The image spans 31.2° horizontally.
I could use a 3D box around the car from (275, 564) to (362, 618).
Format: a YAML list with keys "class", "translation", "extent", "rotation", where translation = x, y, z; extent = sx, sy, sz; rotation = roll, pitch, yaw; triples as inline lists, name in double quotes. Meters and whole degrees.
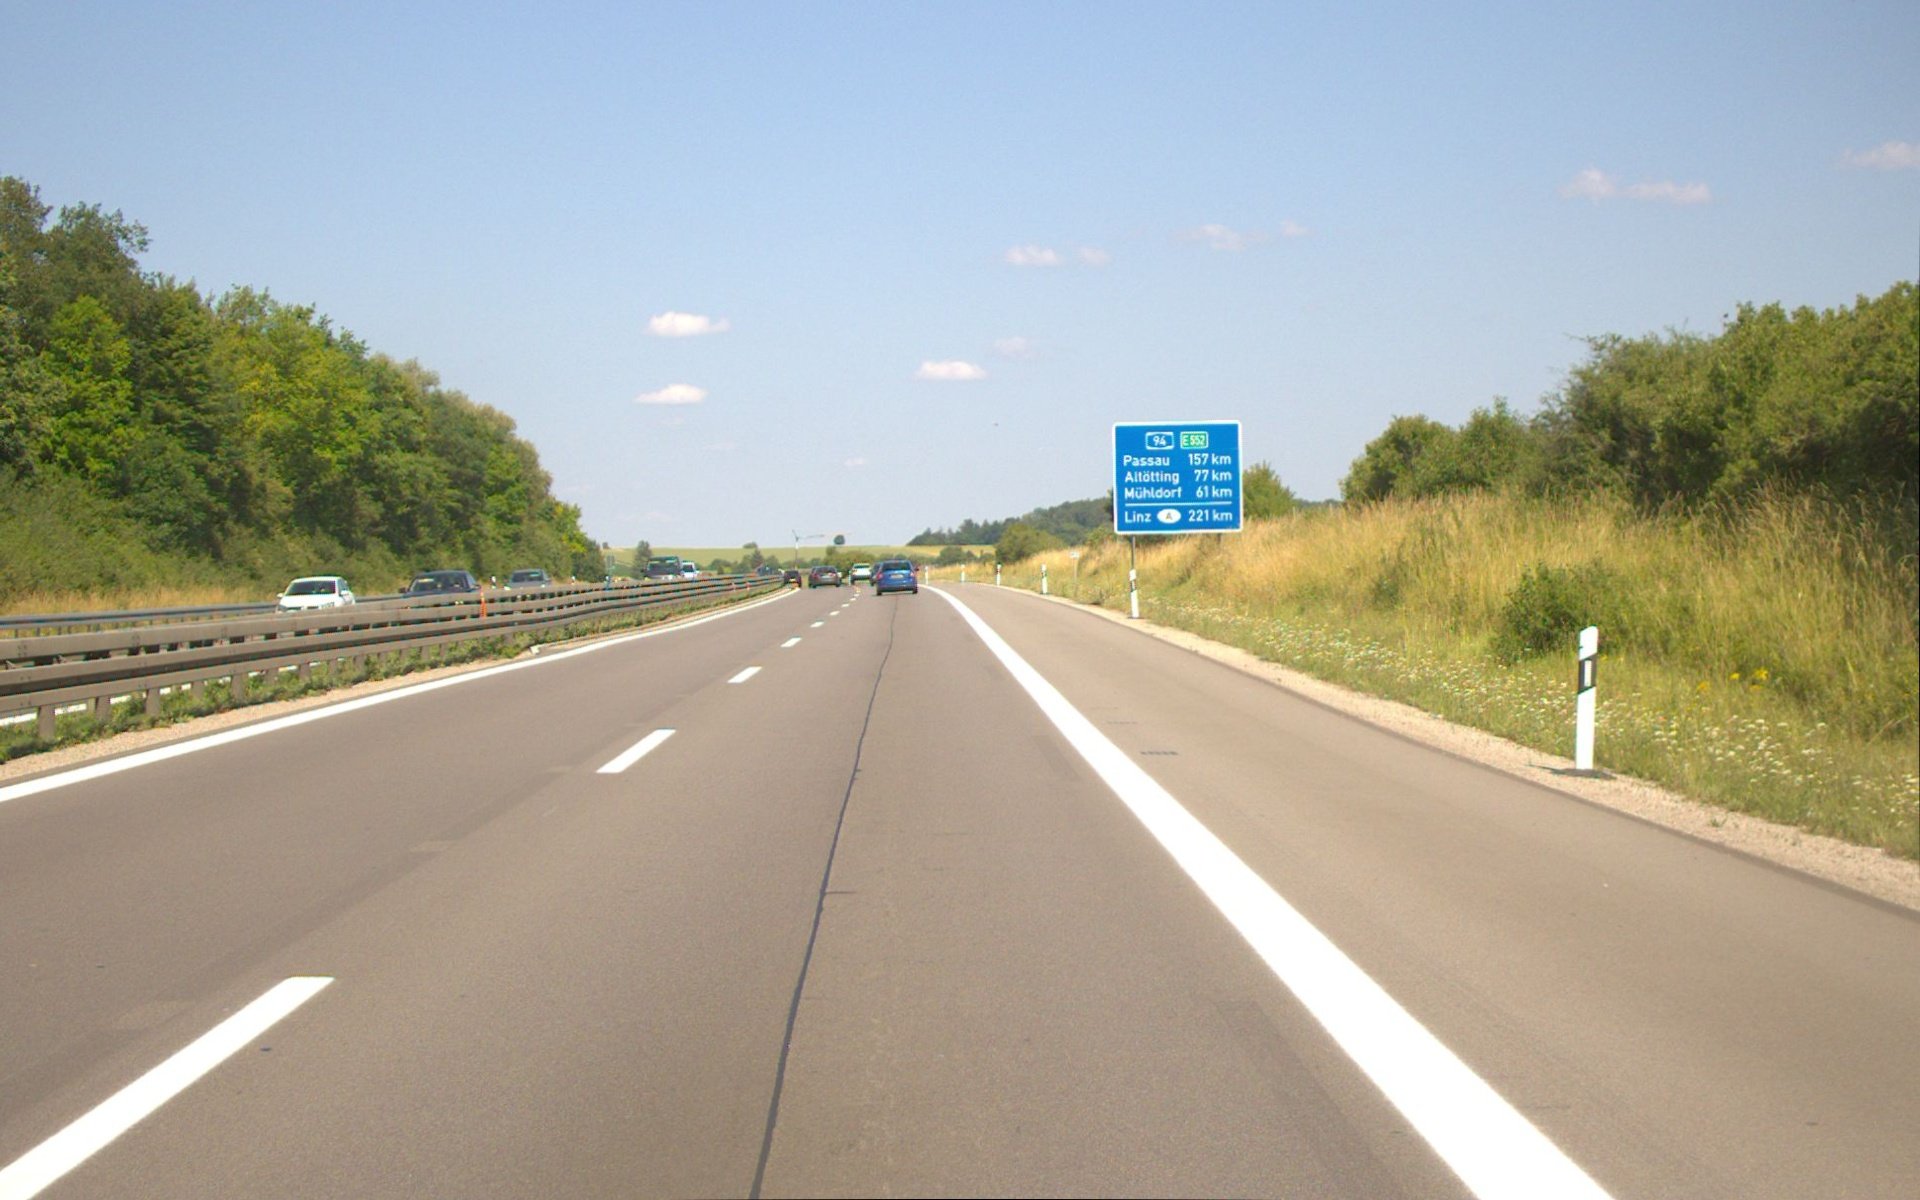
- class: "car"
  translation: [-16.979, -0.258, 91.135]
  extent: [1.522, 1.348, 4.232]
  rotation: [-1, 1, -1]

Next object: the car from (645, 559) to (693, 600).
- class: "car"
  translation: [-14.531, -1.061, 171.651]
  extent: [1.993, 1.966, 5.039]
  rotation: [-1, 1, -1]

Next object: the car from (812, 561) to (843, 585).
- class: "car"
  translation: [-8.701, -1.777, 226.245]
  extent: [1.829, 1.448, 3.592]
  rotation: [-2, 0, 0]

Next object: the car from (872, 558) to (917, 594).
- class: "car"
  translation: [-2.764, -1.017, 145.352]
  extent: [1.676, 1.448, 3.592]
  rotation: [-2, 0, 1]
